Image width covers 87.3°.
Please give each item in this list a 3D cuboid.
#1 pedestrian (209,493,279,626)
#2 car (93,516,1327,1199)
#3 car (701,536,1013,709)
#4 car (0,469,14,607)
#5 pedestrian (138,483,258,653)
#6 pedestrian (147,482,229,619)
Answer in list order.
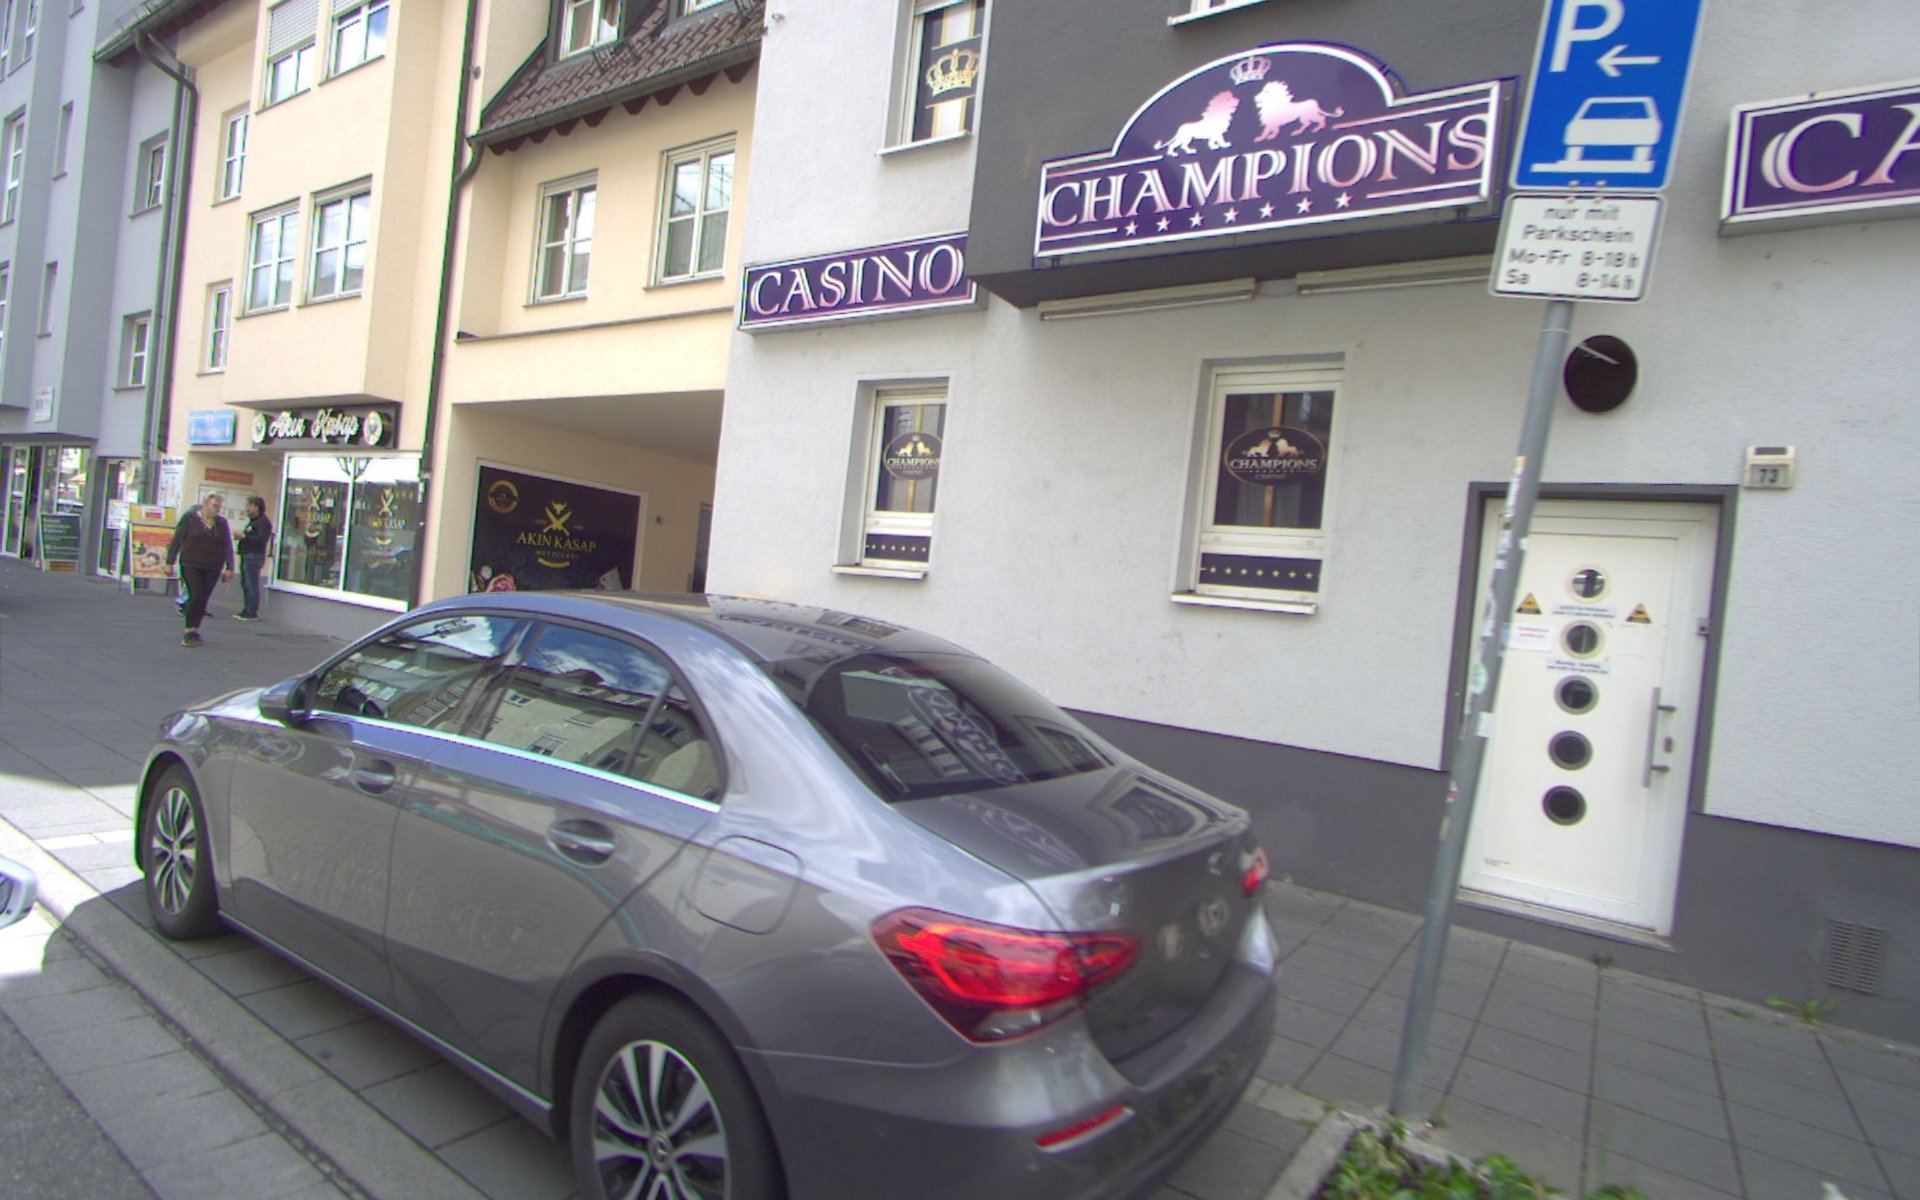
[{"bbox_3d":[-9.827,-0.554,13.805,0.528,1.738,0.436,6,-1,32],"label":"pedestrian"},{"bbox_3d":[-1.222,0.627,3.457,4.253,1.436,1.708,6,-2,37],"label":"car"},{"bbox_3d":[-1.280,0.320,14.328,1.923,1.958,4.345,7,2,35],"label":"car"},{"bbox_3d":[-13.451,-0.972,12.297,4.136,1.624,1.799,7,2,33],"label":"car"},{"bbox_3d":[-8.308,-0.335,10.977,0.645,1.739,0.744,6,0,33],"label":"pedestrian"},{"bbox_3d":[-10.349,-0.662,13.491,0.596,1.738,0.536,6,-1,33],"label":"pedestrian"}]
